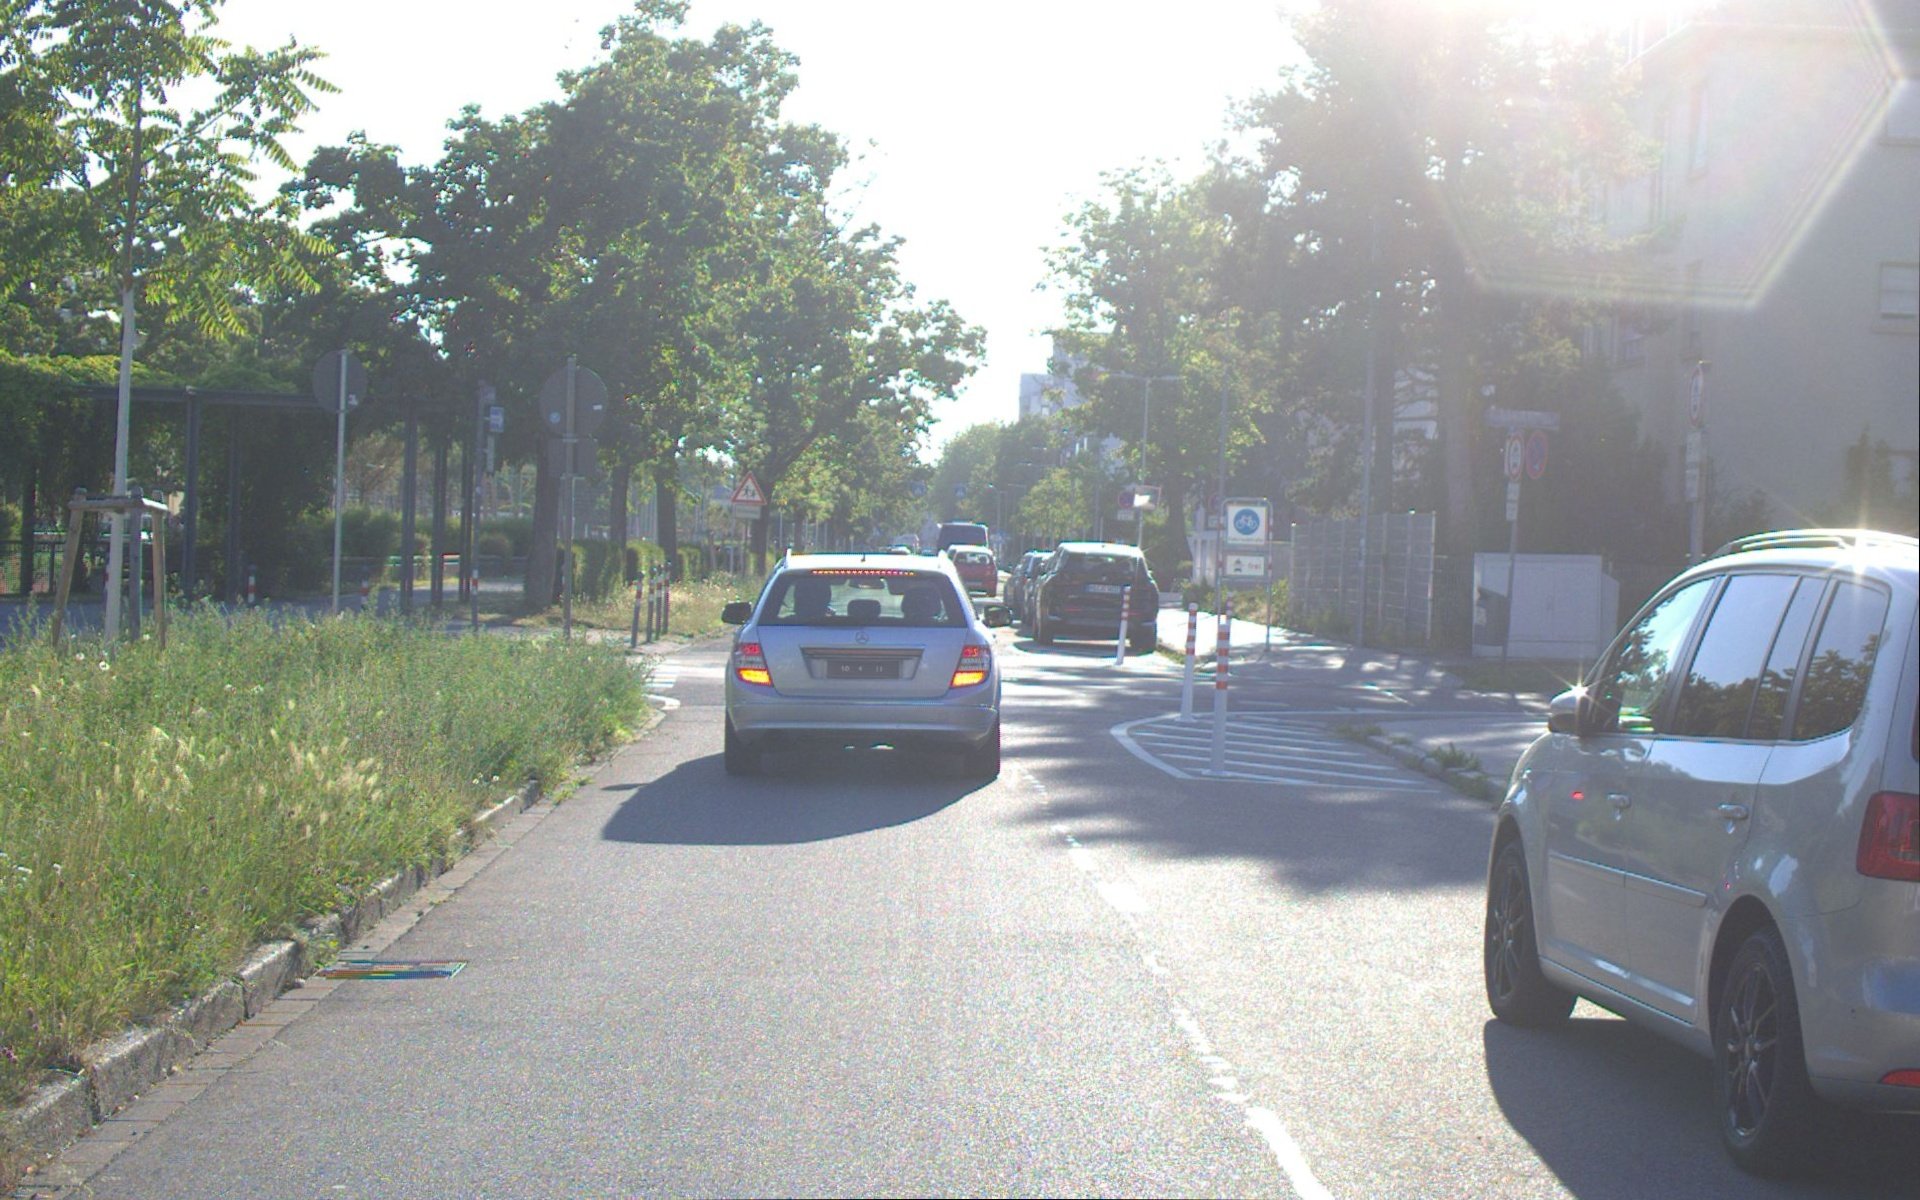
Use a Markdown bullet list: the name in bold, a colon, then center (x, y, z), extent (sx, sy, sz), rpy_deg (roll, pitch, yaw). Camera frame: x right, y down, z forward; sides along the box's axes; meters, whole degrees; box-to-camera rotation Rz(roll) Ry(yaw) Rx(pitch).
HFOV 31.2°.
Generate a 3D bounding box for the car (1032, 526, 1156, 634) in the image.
- **car**: center (2.063, -0.310, 53.954), extent (1.721, 1.591, 4.000), rpy_deg (2, 0, 0)

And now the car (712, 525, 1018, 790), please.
- **car**: center (-0.588, 0.305, 22.790), extent (1.823, 1.561, 4.000), rpy_deg (1, 1, 0)

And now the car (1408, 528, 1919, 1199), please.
- **car**: center (2.697, 0.663, 10.165), extent (1.716, 1.633, 4.565), rpy_deg (4, 1, -4)

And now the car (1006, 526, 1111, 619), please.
- **car**: center (1.769, -0.517, 63.049), extent (1.721, 1.591, 4.000), rpy_deg (2, 1, 0)

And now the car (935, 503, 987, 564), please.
- **car**: center (0.016, -2.513, 130.299), extent (1.861, 2.185, 5.070), rpy_deg (2, 1, 0)

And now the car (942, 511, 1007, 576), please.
- **car**: center (0.461, -1.851, 112.251), extent (1.988, 2.016, 4.000), rpy_deg (2, 1, 0)
